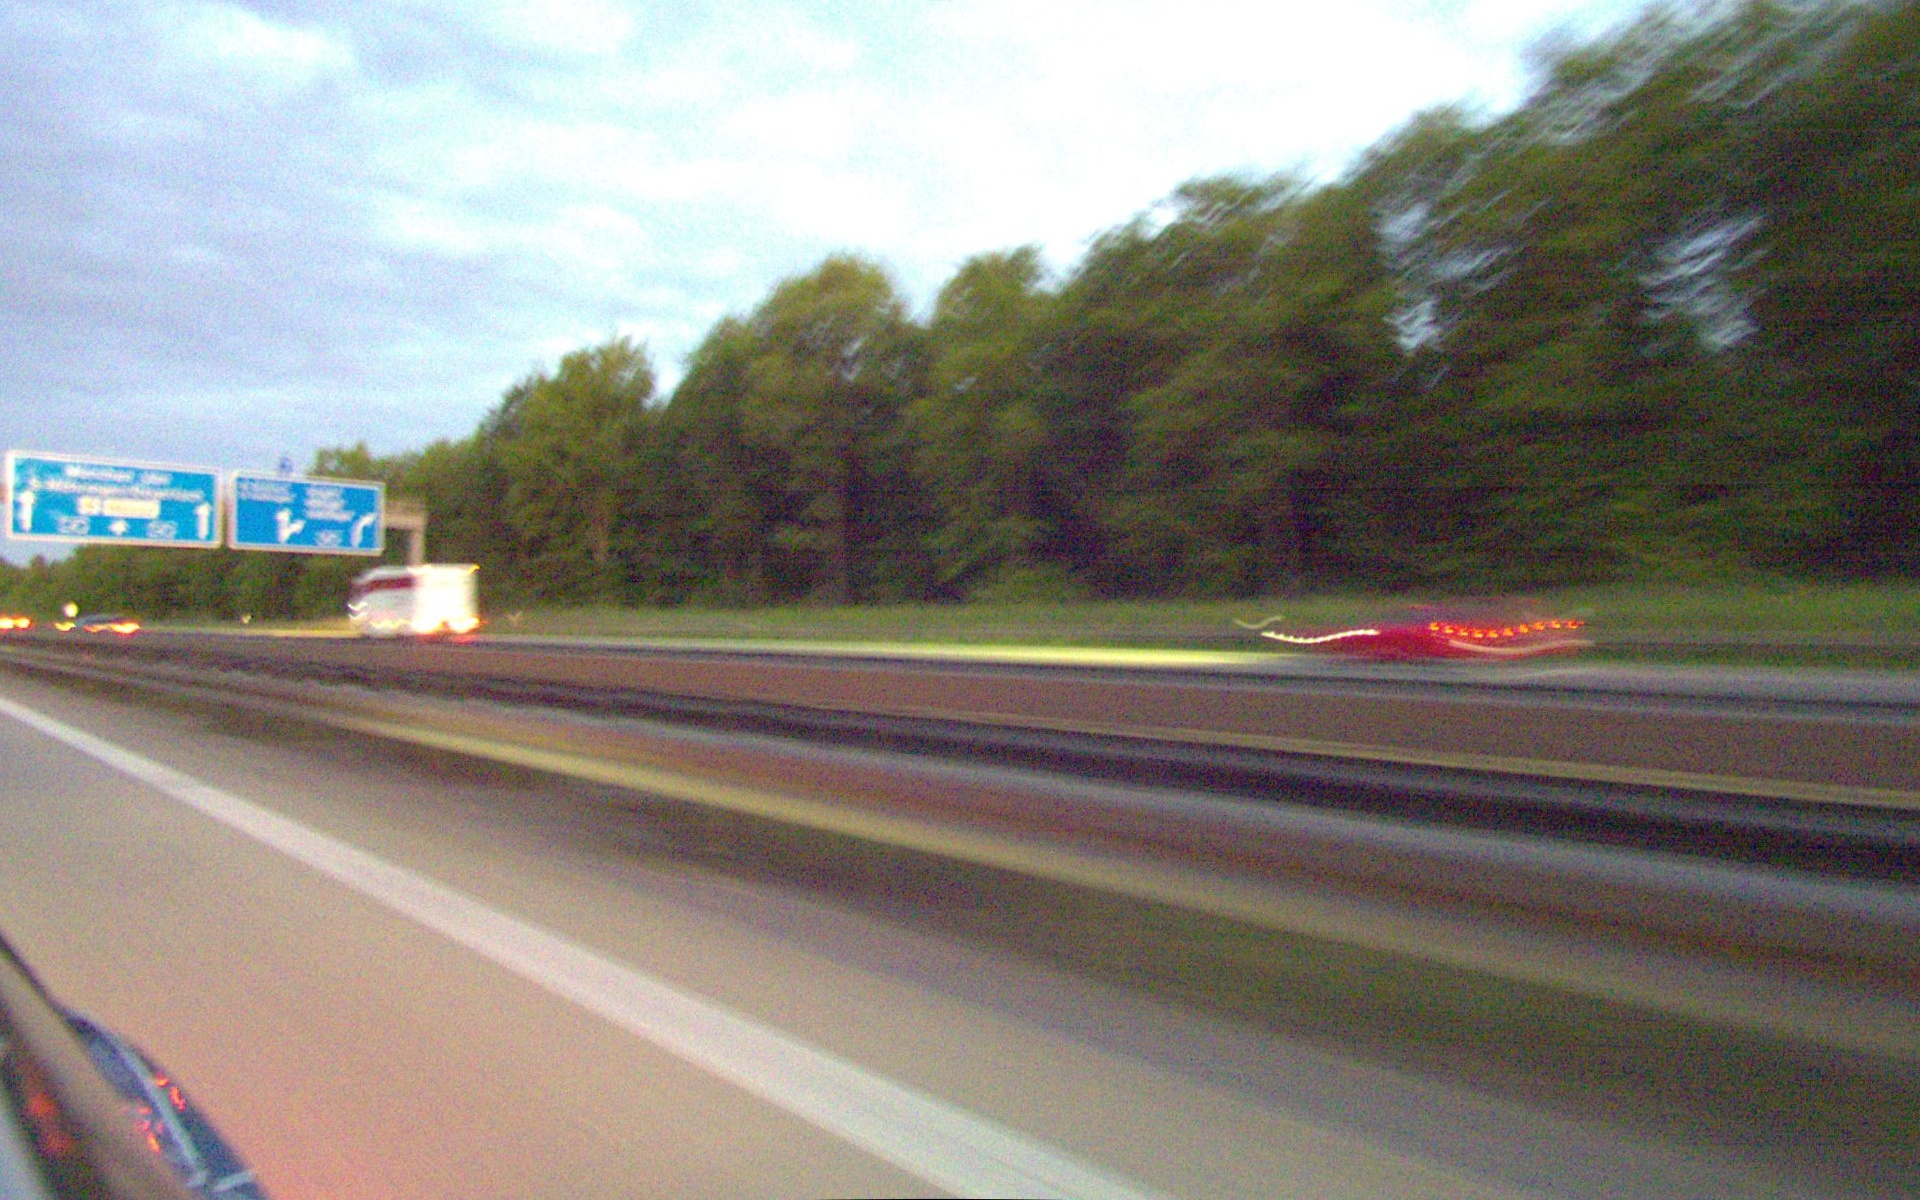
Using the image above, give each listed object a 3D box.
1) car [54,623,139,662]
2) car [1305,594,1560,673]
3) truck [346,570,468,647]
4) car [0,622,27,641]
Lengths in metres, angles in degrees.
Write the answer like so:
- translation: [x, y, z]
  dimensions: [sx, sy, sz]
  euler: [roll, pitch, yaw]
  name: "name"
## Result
- translation: [-38.665, 1.872, 45.277]
  dimensions: [4.815, 1.612, 1.975]
  euler: [-2, -1, 38]
  name: "car"
- translation: [9.997, 0.695, 21.641]
  dimensions: [4.593, 1.508, 1.831]
  euler: [-2, -1, 42]
  name: "car"
- translation: [-31.806, 0.549, 57.928]
  dimensions: [10.538, 4.041, 2.617]
  euler: [-1, -1, 41]
  name: "truck"
- translation: [-92.087, 3.061, 97.902]
  dimensions: [4.366, 1.811, 1.975]
  euler: [-2, -1, 38]
  name: "car"
